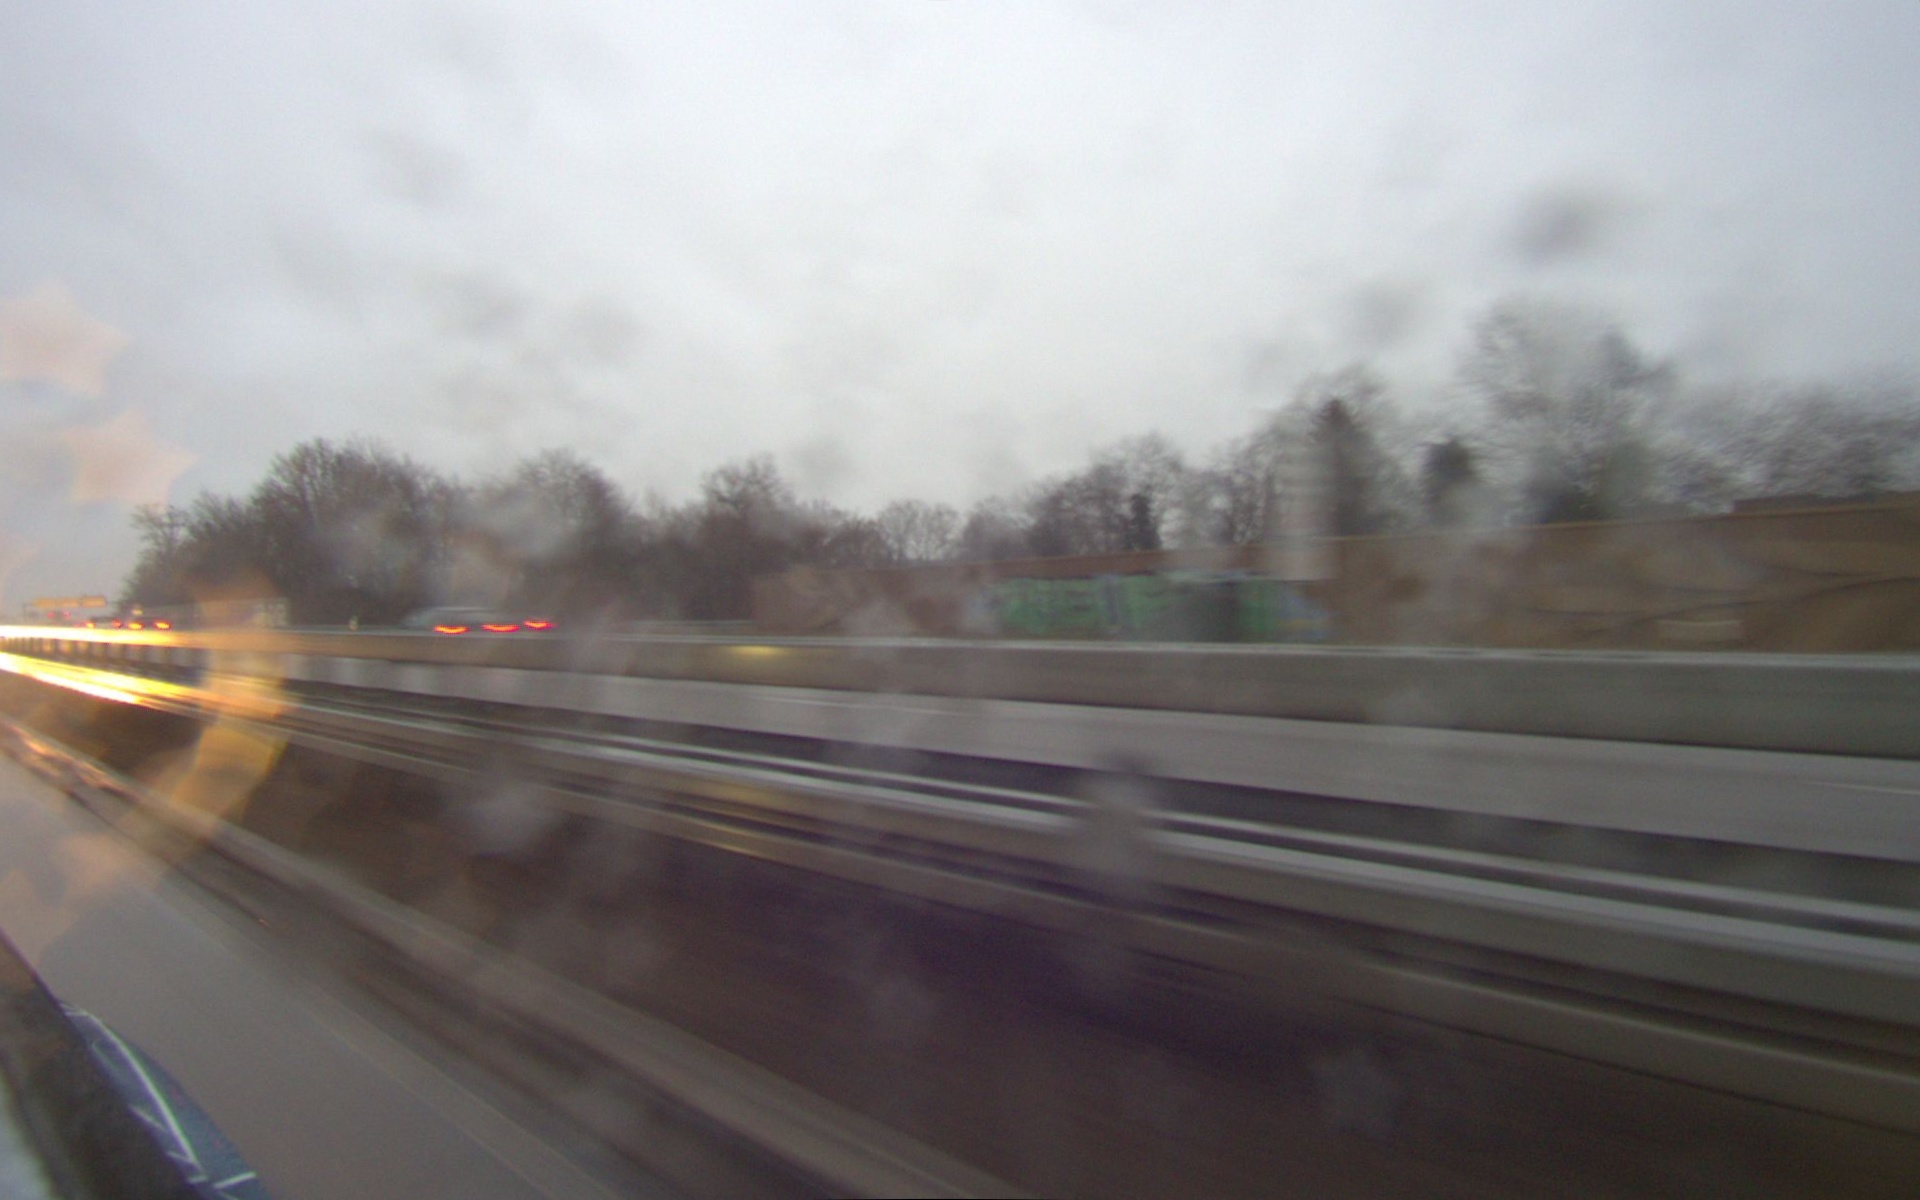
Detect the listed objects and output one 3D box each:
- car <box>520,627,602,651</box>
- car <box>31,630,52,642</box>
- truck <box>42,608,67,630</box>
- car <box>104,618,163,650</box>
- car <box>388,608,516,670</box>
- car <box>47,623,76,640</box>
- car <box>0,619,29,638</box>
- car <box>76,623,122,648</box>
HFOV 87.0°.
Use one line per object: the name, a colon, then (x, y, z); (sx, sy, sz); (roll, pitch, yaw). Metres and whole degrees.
car: (-21.431, 2.085, 54.494); (3.933, 1.170, 1.808); (-1, 0, -14)
car: (-125.259, 4.955, 137.991); (1.971, 1.525, 4.286); (-1, 0, -45)
truck: (-169.555, 3.501, 189.484); (3.042, 3.885, 9.377); (-3, 1, -43)
car: (-45.806, 1.863, 56.045); (4.778, 1.639, 1.846); (-1, 0, 42)
car: (-13.168, 0.967, 26.157); (3.679, 1.452, 1.680); (-1, 0, 41)
car: (-88.153, 3.069, 99.276); (4.179, 1.619, 1.708); (-1, 0, 43)
car: (-76.406, 2.251, 81.371); (4.645, 1.460, 1.846); (-1, 0, 42)
car: (-59.076, 2.417, 69.422); (4.645, 1.639, 1.846); (-1, 0, 42)
